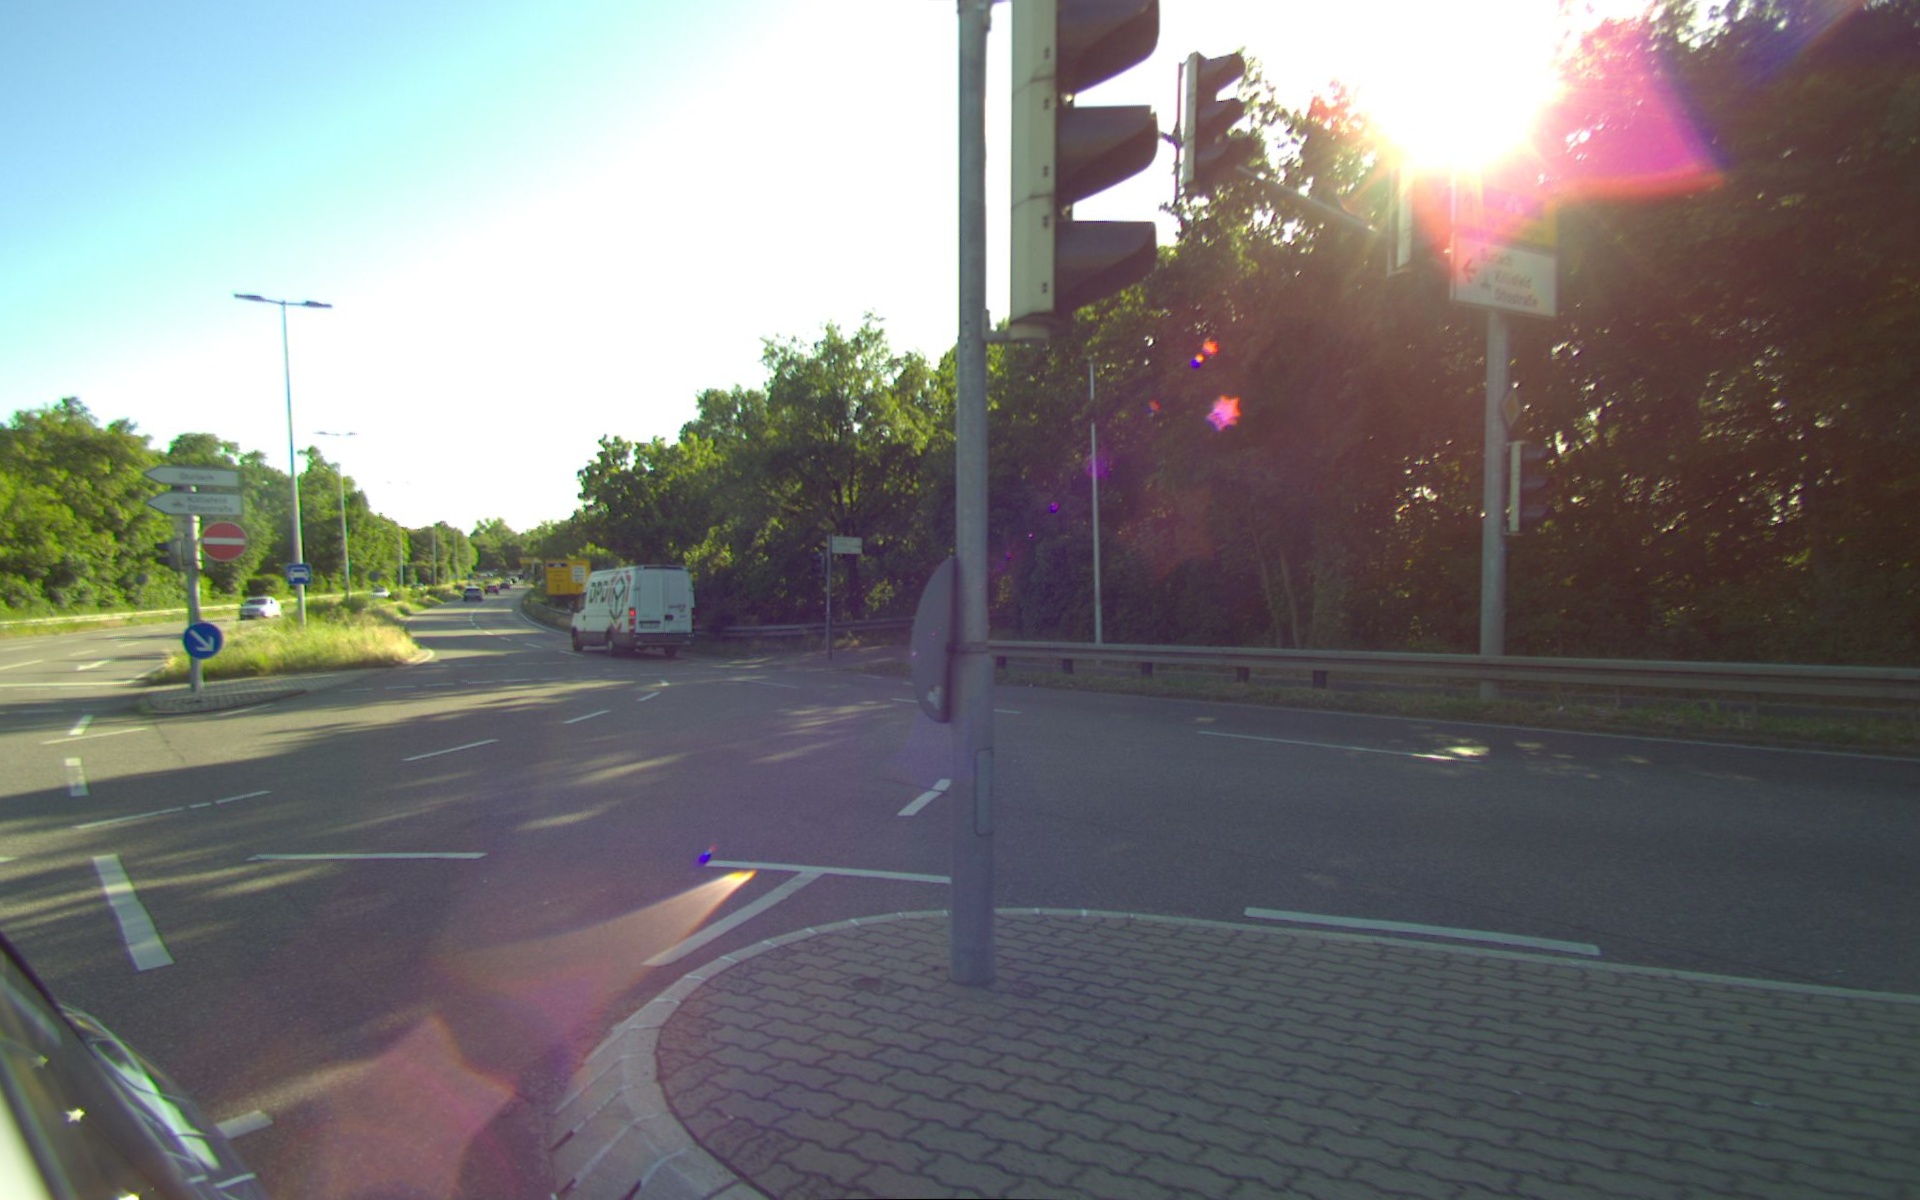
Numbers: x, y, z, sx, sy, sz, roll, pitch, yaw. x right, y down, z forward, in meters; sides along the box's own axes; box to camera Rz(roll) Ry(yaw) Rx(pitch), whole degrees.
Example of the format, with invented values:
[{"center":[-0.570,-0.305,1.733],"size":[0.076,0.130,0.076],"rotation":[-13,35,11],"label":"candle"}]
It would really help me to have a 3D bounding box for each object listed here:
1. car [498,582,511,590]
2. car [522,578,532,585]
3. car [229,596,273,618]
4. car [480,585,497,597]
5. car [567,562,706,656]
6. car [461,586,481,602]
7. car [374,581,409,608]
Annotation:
[{"center":[-86.563,-2.607,192.219],"size":[1.724,1.502,3.913],"rotation":[-1,0,-17],"label":"car"},{"center":[-102.514,-4.427,239.801],"size":[1.724,1.502,3.913],"rotation":[-1,0,-17],"label":"car"},{"center":[-48.054,0.475,68.637],"size":[1.735,1.447,4.344],"rotation":[-1,0,-26],"label":"car"},{"center":[-67.429,-1.288,144.839],"size":[1.872,1.630,4.013],"rotation":[-1,0,-21],"label":"car"},{"center":[-10.000,0.275,30.849],"size":[2.233,2.572,6.414],"rotation":[1,-1,-35],"label":"car"},{"center":[-52.519,-0.621,108.605],"size":[1.885,1.673,4.013],"rotation":[-1,0,-27],"label":"car"},{"center":[-44.171,-0.387,78.683],"size":[1.965,2.029,4.013],"rotation":[-1,0,-24],"label":"car"}]
